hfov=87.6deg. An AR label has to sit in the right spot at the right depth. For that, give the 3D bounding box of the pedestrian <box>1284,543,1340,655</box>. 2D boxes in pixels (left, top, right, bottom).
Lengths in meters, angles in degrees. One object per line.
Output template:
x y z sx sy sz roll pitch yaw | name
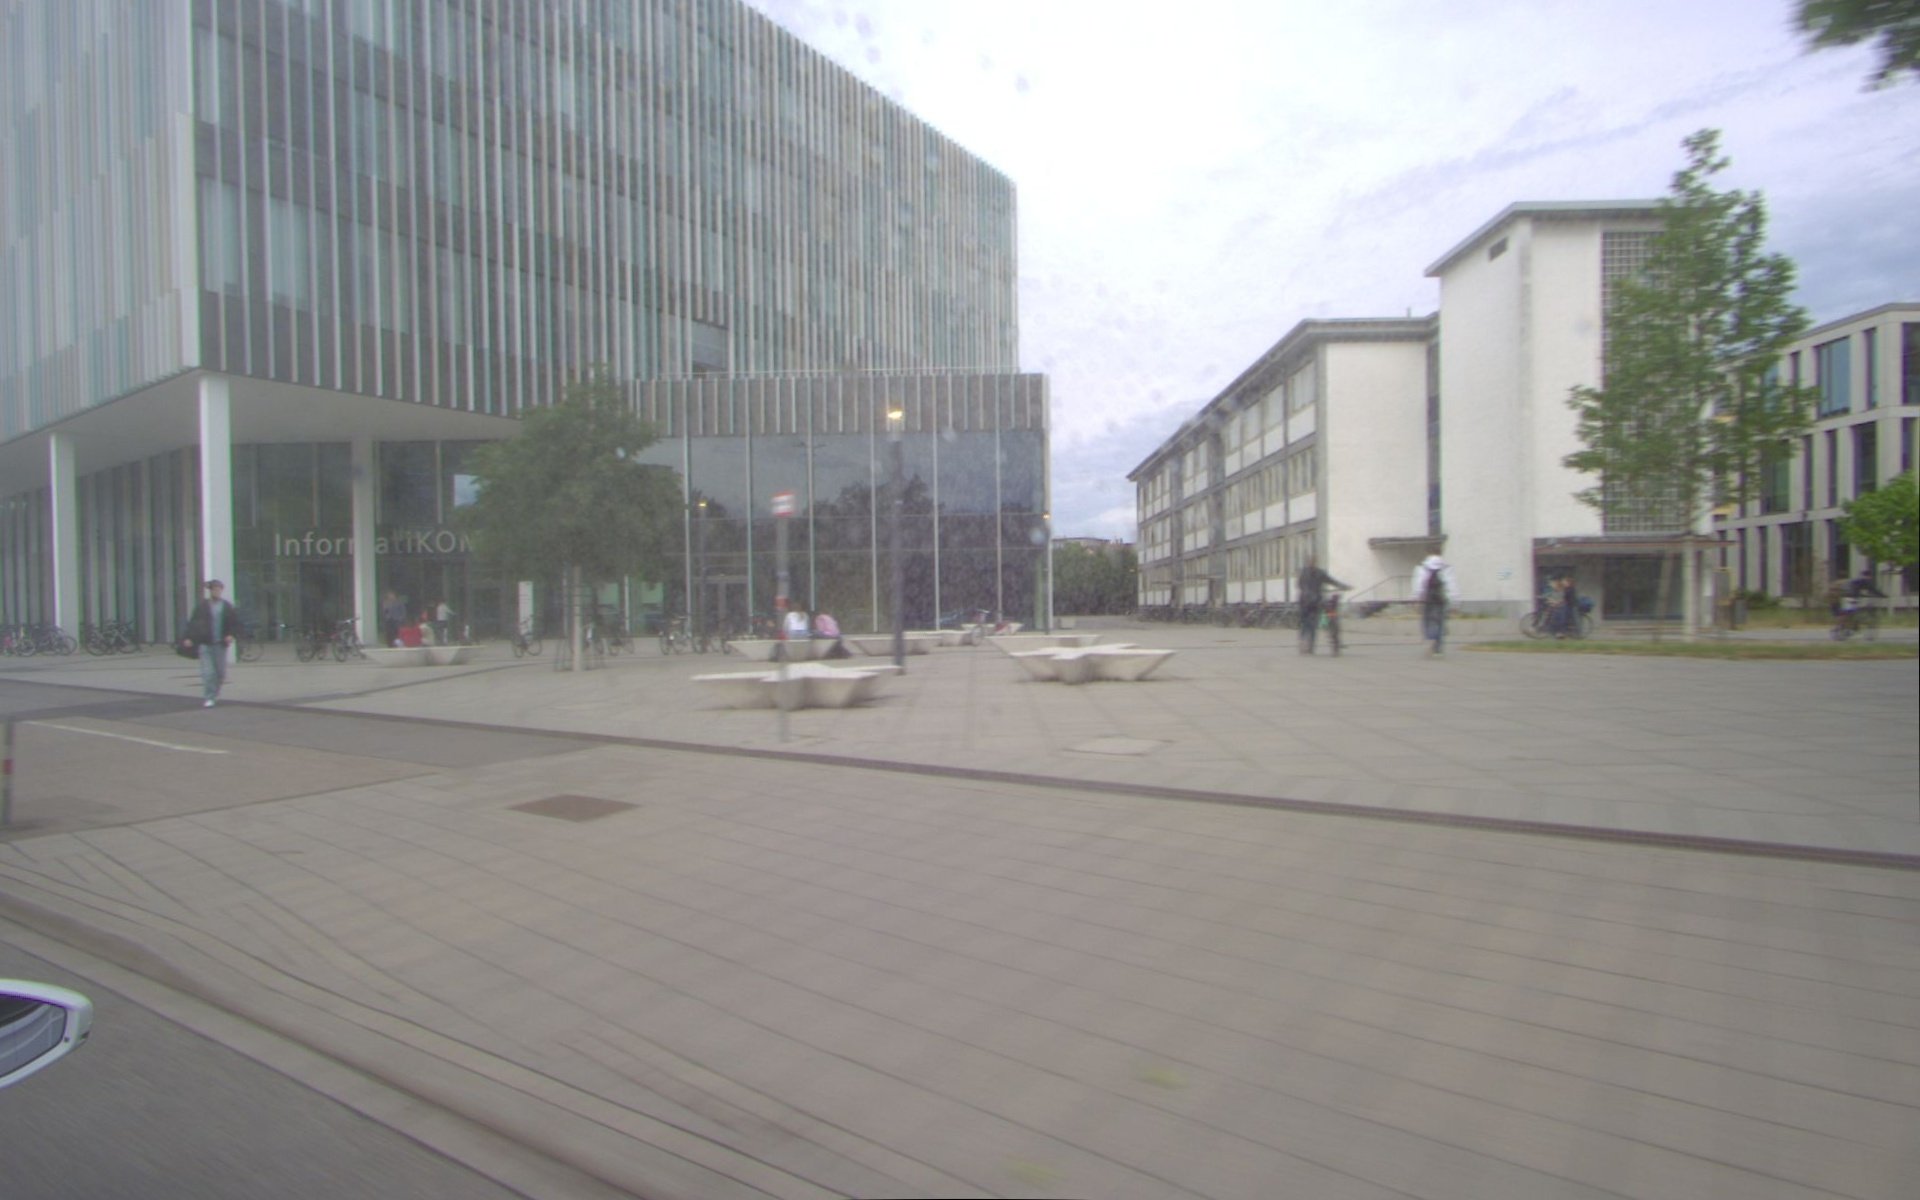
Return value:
6.185 -0.009 17.643 0.873 1.911 0.737 -1 1 16 | pedestrian

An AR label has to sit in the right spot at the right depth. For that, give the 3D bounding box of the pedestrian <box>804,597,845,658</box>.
-2.944 0.596 21.809 0.641 1.295 0.639 1 -1 -42 | pedestrian

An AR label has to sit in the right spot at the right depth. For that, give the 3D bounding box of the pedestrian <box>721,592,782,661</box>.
-4.309 0.553 20.722 0.864 1.385 0.909 0 -1 25 | pedestrian

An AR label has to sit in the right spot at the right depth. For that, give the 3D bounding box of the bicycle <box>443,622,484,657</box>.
-14.268 1.121 28.829 0.660 0.911 1.843 -1 0 -14 | bicycle

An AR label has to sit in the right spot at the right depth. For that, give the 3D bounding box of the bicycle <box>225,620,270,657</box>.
-21.136 1.137 29.686 1.818 1.075 0.636 -1 -2 40 | bicycle

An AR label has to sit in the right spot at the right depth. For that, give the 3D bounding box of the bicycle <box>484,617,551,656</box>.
-12.602 1.024 28.597 0.766 1.019 2.191 -1 0 5 | bicycle

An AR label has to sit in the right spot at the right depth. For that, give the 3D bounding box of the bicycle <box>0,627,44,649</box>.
-39.309 1.587 41.705 0.549 0.886 1.601 -1 0 35 | bicycle

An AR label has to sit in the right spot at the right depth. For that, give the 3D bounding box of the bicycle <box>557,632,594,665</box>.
-8.660 1.079 22.574 0.424 0.640 1.690 -1 0 -9 | bicycle

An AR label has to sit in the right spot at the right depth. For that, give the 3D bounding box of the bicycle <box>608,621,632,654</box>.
-9.798 1.067 28.855 0.387 0.911 1.472 -1 0 -9 | bicycle

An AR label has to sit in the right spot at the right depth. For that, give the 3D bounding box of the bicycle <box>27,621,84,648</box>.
-35.657 1.348 39.500 0.563 0.949 1.595 1 4 45 | bicycle

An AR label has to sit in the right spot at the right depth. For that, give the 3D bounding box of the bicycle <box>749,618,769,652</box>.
-5.853 1.008 29.187 0.499 0.911 1.550 -1 0 -9 | bicycle

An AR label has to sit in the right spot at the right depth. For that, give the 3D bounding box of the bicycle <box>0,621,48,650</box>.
-36.840 1.384 39.321 0.551 1.058 1.395 0 2 35 | bicycle

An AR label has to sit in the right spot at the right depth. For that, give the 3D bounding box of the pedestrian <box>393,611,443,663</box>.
-13.098 0.877 24.214 0.885 1.209 0.838 -1 0 -41 | pedestrian

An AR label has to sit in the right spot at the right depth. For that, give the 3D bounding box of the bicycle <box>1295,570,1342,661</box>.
6.141 0.251 17.210 0.592 1.490 1.645 -1 0 14 | bicycle

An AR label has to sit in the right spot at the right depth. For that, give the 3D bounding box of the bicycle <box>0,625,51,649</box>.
-37.638 1.489 40.191 0.549 0.886 1.601 -1 0 35 | bicycle

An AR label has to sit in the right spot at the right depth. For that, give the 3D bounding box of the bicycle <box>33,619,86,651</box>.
-31.860 1.240 35.433 1.930 1.095 0.607 -1 2 24 | bicycle

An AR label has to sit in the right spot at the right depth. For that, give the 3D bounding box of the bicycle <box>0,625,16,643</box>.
-43.494 1.548 45.043 0.549 0.756 1.430 -1 1 35 | bicycle

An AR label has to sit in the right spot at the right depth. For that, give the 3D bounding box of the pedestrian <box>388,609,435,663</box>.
-12.870 0.840 23.505 0.831 1.222 0.892 -1 0 -21 | pedestrian

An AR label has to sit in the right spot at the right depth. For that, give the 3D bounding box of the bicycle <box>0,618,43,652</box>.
-34.402 1.275 36.619 2.169 1.156 0.634 -1 3 31 | bicycle

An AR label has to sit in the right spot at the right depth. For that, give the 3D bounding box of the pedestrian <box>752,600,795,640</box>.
-4.045 0.432 21.675 0.629 0.834 0.727 -2 0 -40 | pedestrian

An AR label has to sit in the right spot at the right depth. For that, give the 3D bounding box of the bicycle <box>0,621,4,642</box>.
-42.442 1.396 43.451 0.549 0.886 1.279 -1 1 35 | bicycle

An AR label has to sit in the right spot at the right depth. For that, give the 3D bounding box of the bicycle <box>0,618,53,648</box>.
-38.287 1.342 40.964 0.566 1.106 1.634 0 3 43 | bicycle

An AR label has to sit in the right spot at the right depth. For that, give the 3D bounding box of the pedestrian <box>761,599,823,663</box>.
-3.426 0.629 20.444 0.868 1.273 0.906 -1 -1 38 | pedestrian

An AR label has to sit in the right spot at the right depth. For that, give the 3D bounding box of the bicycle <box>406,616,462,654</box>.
-15.137 0.991 28.853 0.759 1.015 1.959 -1 0 -7 | bicycle

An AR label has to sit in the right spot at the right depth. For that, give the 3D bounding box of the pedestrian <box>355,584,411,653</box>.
-18.000 0.595 31.233 1.122 2.089 1.176 -1 -1 40 | pedestrian

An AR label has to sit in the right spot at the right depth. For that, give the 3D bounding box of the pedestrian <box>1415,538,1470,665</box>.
7.720 0.027 16.032 0.675 1.985 0.653 -1 1 16 | pedestrian

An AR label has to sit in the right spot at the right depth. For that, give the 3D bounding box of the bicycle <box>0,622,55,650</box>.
-37.168 1.430 39.835 0.549 0.996 1.600 0 3 35 | bicycle

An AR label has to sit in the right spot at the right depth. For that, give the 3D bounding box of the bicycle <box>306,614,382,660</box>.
-17.581 1.033 28.678 0.759 1.203 2.719 -1 0 -7 | bicycle

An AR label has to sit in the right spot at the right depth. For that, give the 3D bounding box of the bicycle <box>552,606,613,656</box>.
-10.838 0.855 28.828 0.633 1.324 2.005 1 2 13 | bicycle

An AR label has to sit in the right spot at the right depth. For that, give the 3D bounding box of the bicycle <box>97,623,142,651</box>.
-29.704 1.299 35.401 0.432 0.942 1.488 0 1 -4 | bicycle

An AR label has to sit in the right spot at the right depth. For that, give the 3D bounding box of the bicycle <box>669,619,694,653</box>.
-7.947 1.025 28.598 0.532 0.911 1.356 -1 0 -9 | bicycle

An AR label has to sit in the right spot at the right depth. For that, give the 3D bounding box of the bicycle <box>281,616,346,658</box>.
-18.862 1.053 29.256 0.722 1.130 2.182 -1 0 -8 | bicycle

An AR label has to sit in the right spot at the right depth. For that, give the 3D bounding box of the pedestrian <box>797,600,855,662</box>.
-2.870 0.665 21.464 0.868 1.273 0.906 -1 -1 38 | pedestrian

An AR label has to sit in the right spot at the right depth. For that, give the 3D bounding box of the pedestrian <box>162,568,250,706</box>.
-11.589 0.546 15.391 0.883 2.040 0.839 0 1 36 | pedestrian

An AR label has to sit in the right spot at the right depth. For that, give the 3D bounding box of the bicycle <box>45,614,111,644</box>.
-37.369 1.224 42.444 1.951 1.160 0.647 -2 2 -14 | bicycle
